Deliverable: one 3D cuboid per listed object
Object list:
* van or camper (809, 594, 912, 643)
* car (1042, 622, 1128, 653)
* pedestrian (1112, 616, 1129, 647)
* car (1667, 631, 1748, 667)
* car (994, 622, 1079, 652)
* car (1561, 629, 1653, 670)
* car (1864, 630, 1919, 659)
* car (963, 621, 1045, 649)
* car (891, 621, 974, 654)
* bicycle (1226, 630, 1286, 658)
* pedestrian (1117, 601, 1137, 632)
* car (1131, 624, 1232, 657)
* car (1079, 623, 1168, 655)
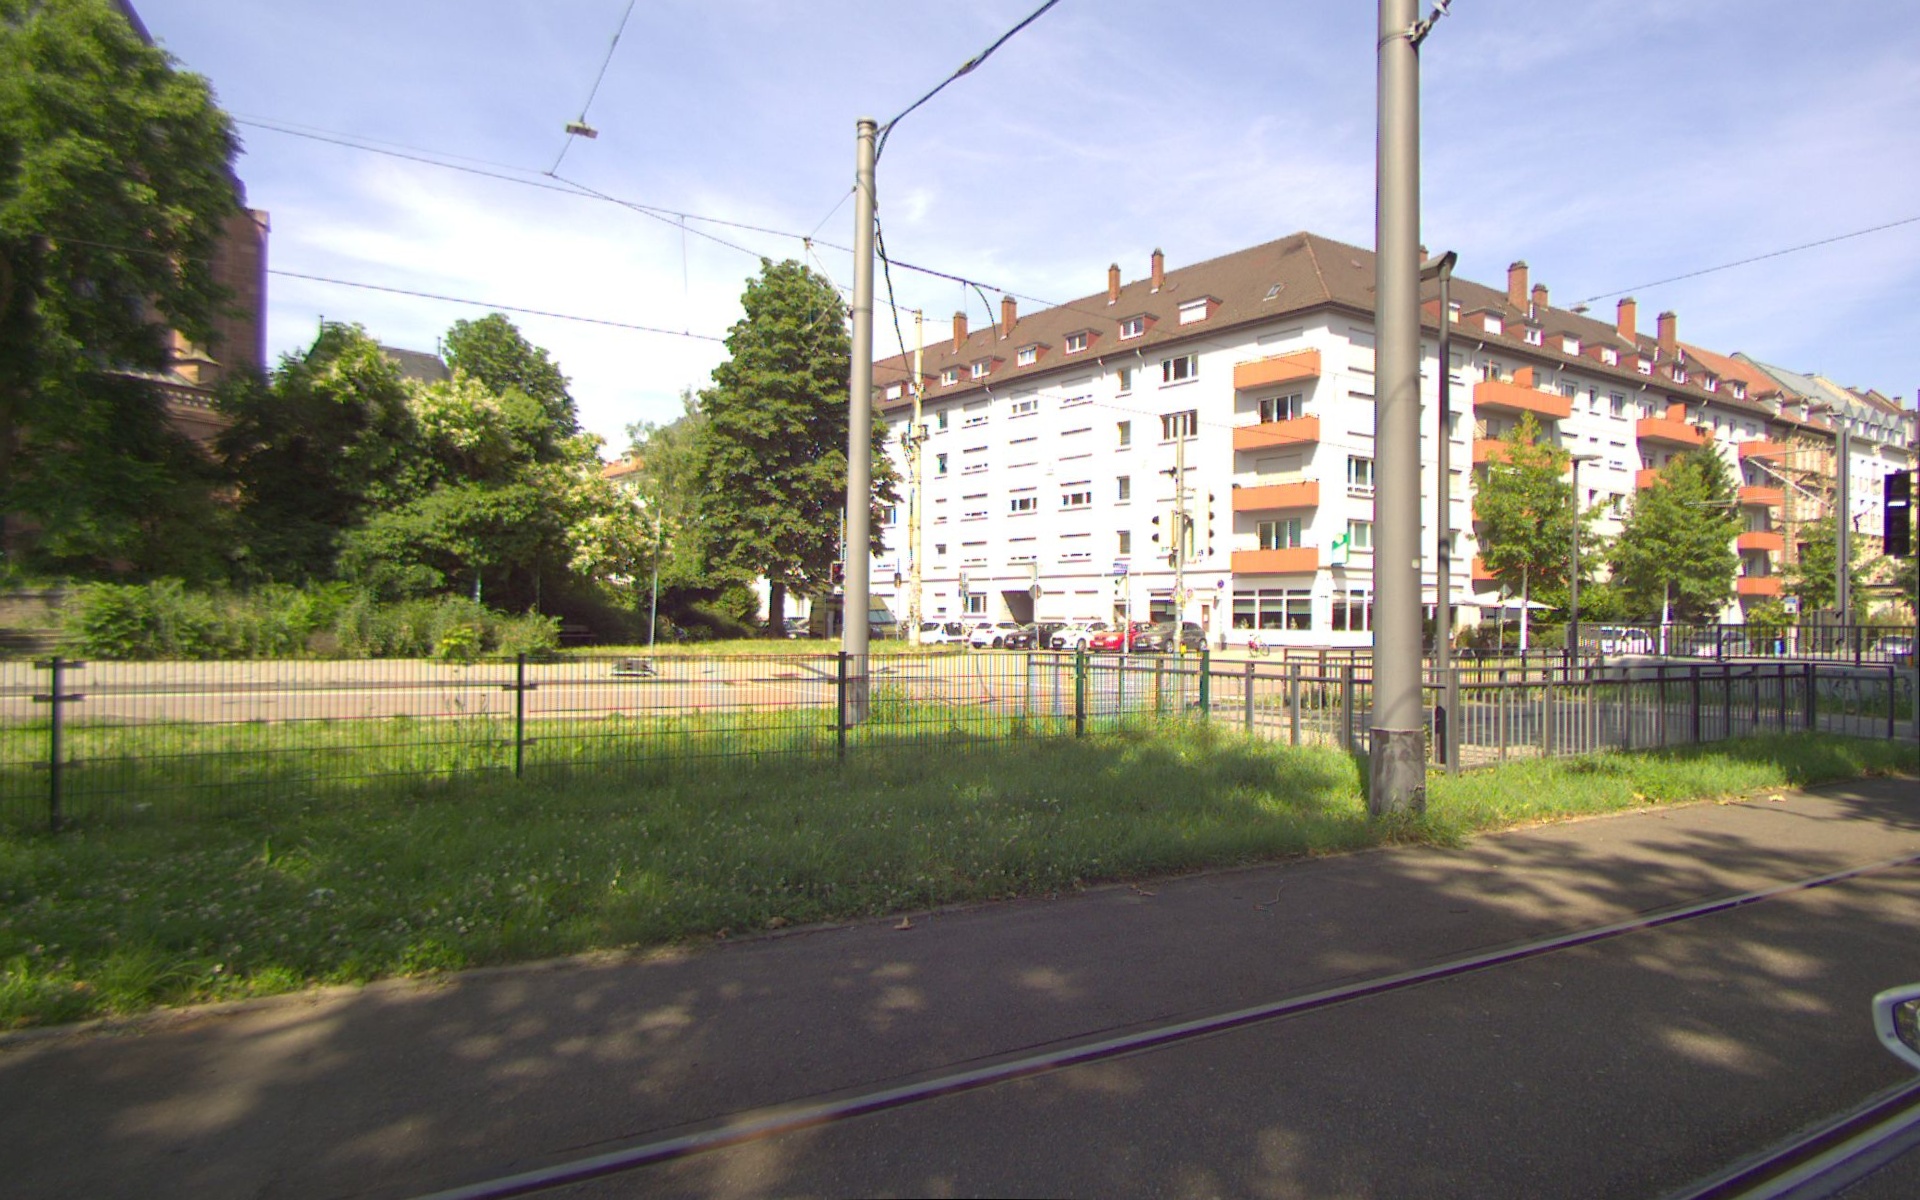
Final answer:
[{"bbox_3d":[-5.137,0.946,51.091,2.228,2.360,5.704,2,-1,-42],"label":"van or camper"},{"bbox_3d":[6.203,1.837,49.766,4.129,1.425,1.917,2,-1,-38],"label":"car"},{"bbox_3d":[8.322,1.611,52.102,0.679,1.593,0.544,0,-1,36],"label":"pedestrian"},{"bbox_3d":[33.072,2.141,44.392,3.961,1.518,1.759,1,-3,-36],"label":"car"},{"bbox_3d":[3.914,1.886,51.331,4.129,1.425,1.917,2,-1,-38],"label":"car"},{"bbox_3d":[25.803,1.954,40.024,3.961,1.518,1.759,1,-3,-36],"label":"car"},{"bbox_3d":[51.387,2.420,55.188,3.961,1.518,1.758,2,-1,-36],"label":"car"},{"bbox_3d":[2.380,1.864,53.633,4.129,1.425,1.917,1,-1,-38],"label":"car"},{"bbox_3d":[-1.316,1.710,46.700,3.702,1.425,1.823,-1,-2,44],"label":"car"},{"bbox_3d":[12.671,1.862,42.988,2.779,1.152,0.905,1,-1,-34],"label":"bicycle"},{"bbox_3d":[8.746,0.875,52.611,0.846,1.593,0.688,0,-1,36],"label":"pedestrian"},{"bbox_3d":[9.911,1.786,44.854,4.598,1.394,1.821,1,-1,-36],"label":"car"},{"bbox_3d":[7.745,1.806,47.449,4.129,1.425,1.917,2,-1,-38],"label":"car"}]
